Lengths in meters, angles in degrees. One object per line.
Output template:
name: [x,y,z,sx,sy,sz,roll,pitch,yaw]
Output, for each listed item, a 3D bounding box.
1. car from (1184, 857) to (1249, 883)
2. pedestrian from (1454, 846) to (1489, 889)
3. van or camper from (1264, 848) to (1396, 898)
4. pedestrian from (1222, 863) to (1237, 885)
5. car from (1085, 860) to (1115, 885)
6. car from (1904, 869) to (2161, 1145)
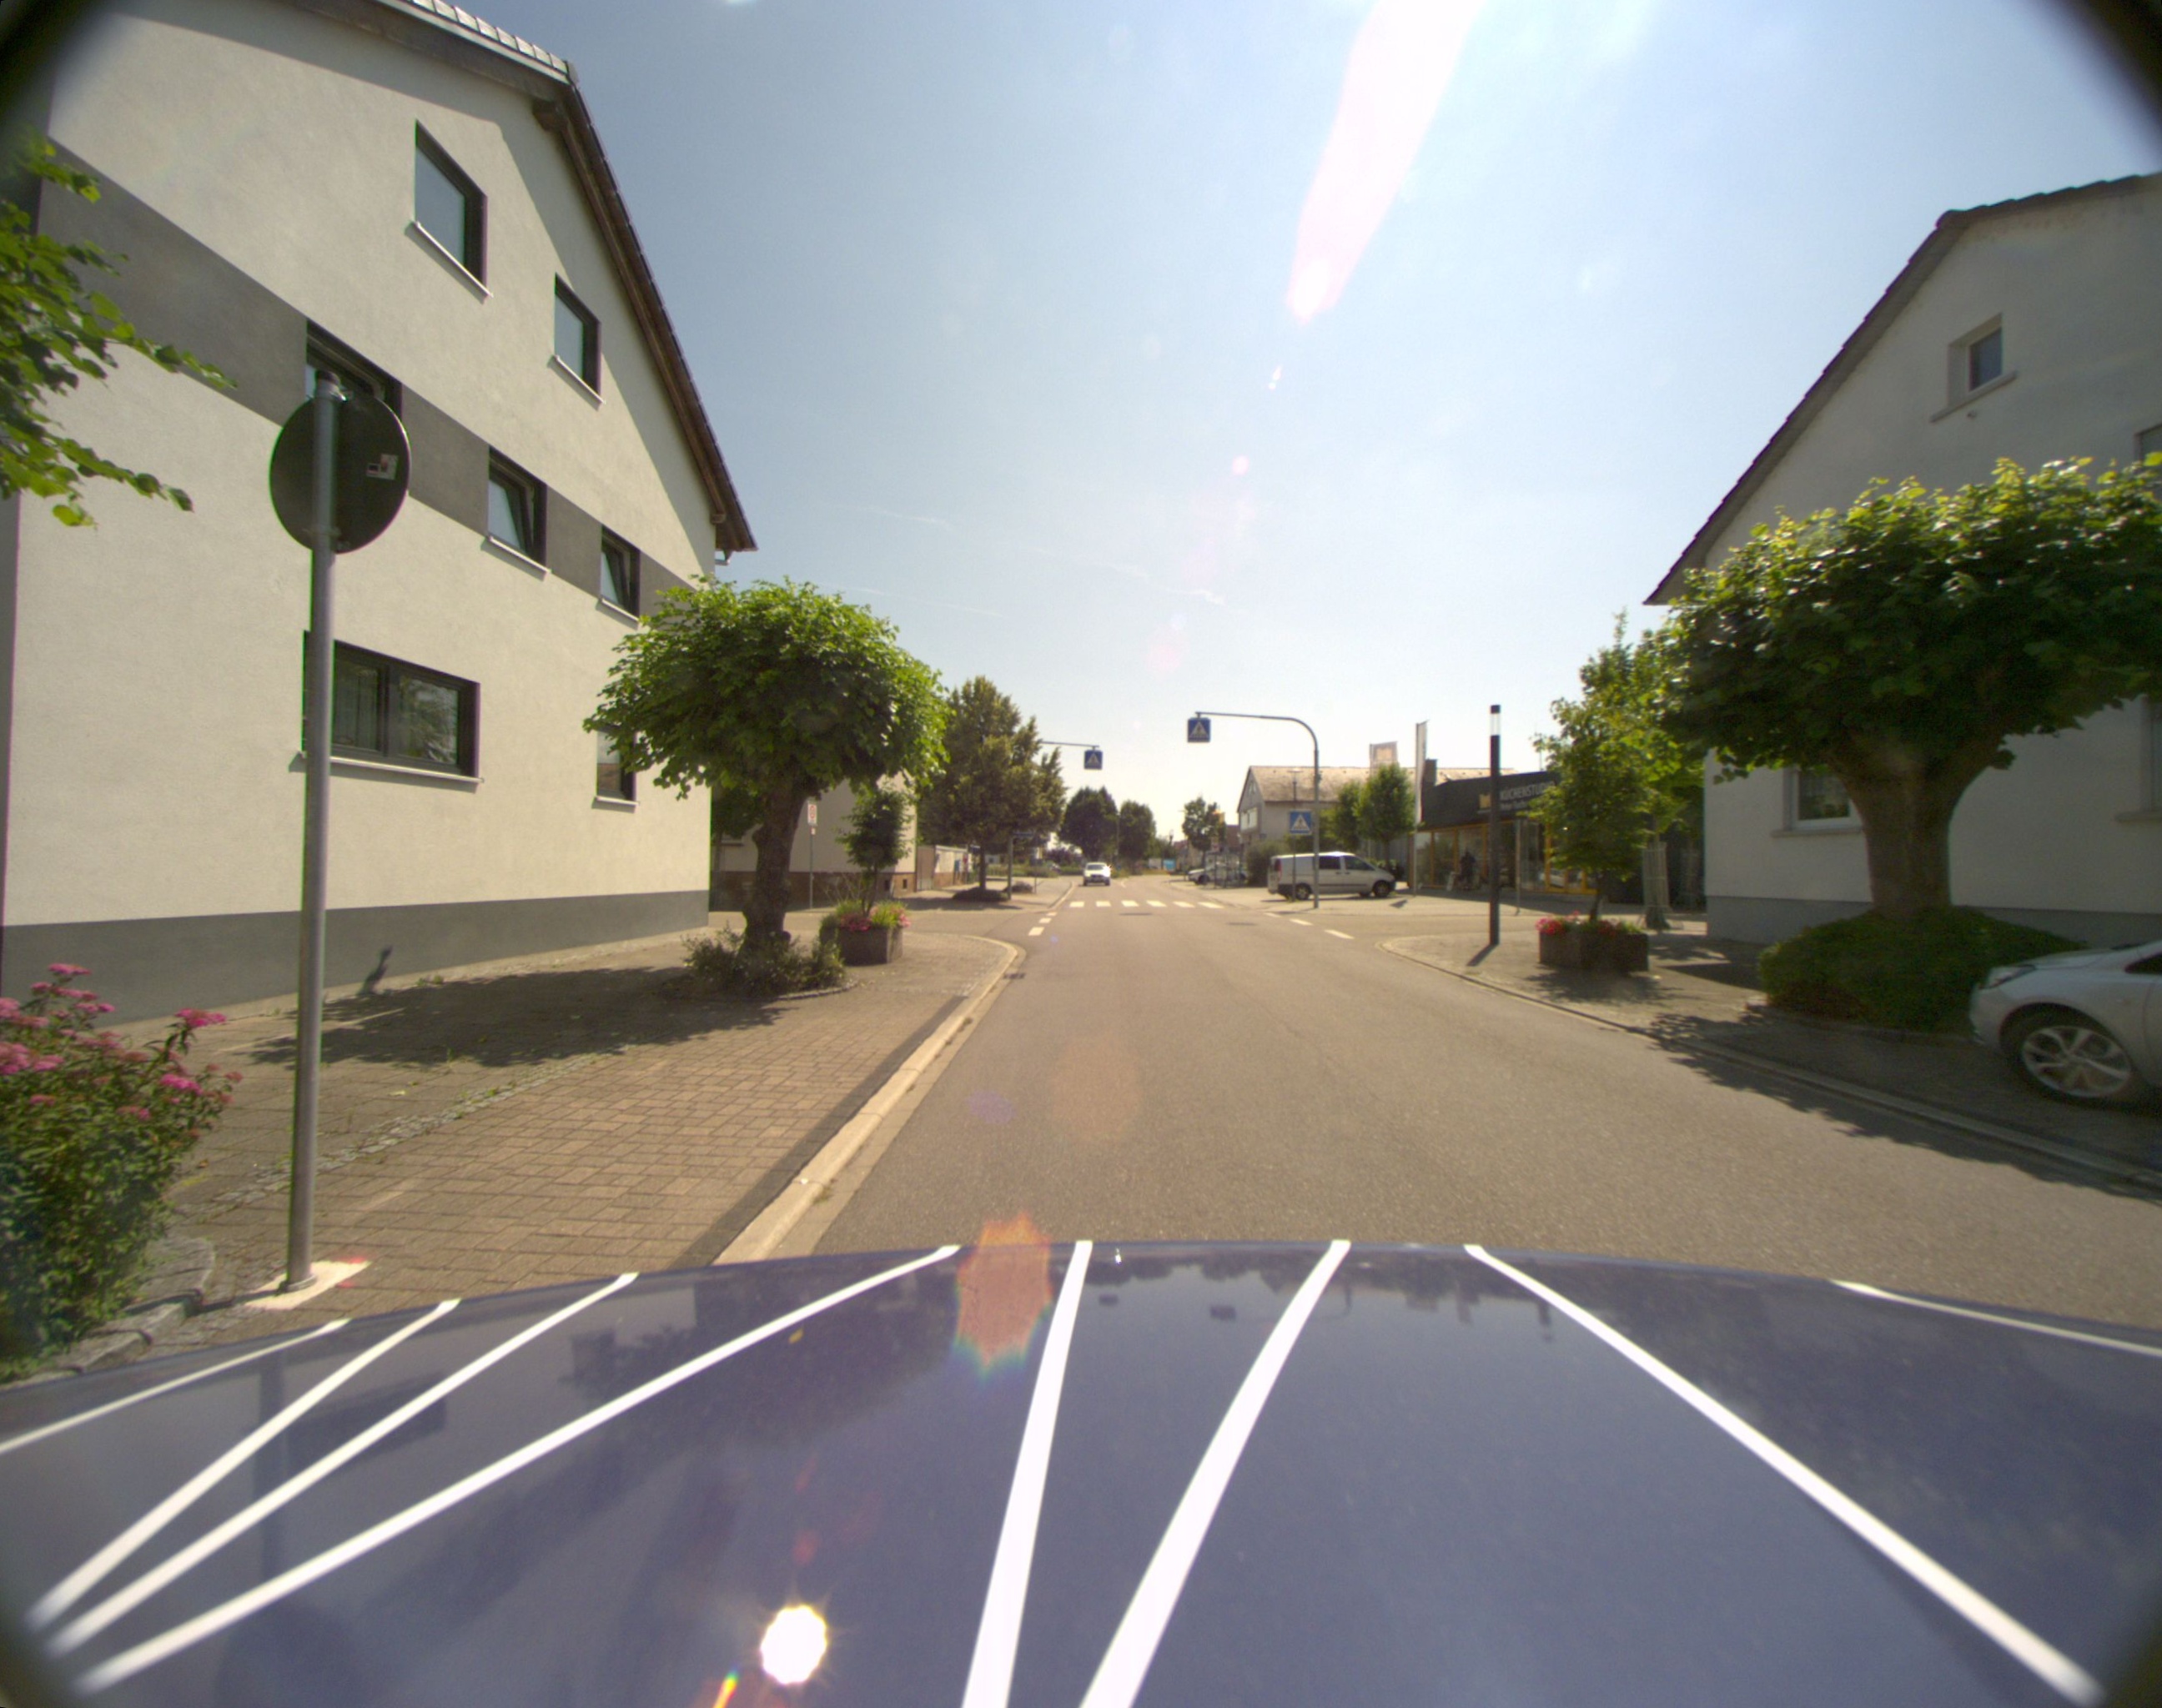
car: [9.880,1.126,55.652,4.251,1.709,1.945,-2,0,-5]
pedestrian: [16.401,0.558,31.940,1.072,1.764,0.932,0,0,-36]
van or camper: [10.195,0.788,31.359,4.752,1.851,2.000,-2,-1,0]
pedestrian: [9.366,1.279,47.884,0.787,1.350,0.607,-1,0,1]
car: [1.354,1.233,52.553,1.857,1.603,4.136,-2,0,3]
car: [7.004,0.883,3.572,1.829,1.474,4.133,-2,0,1]
